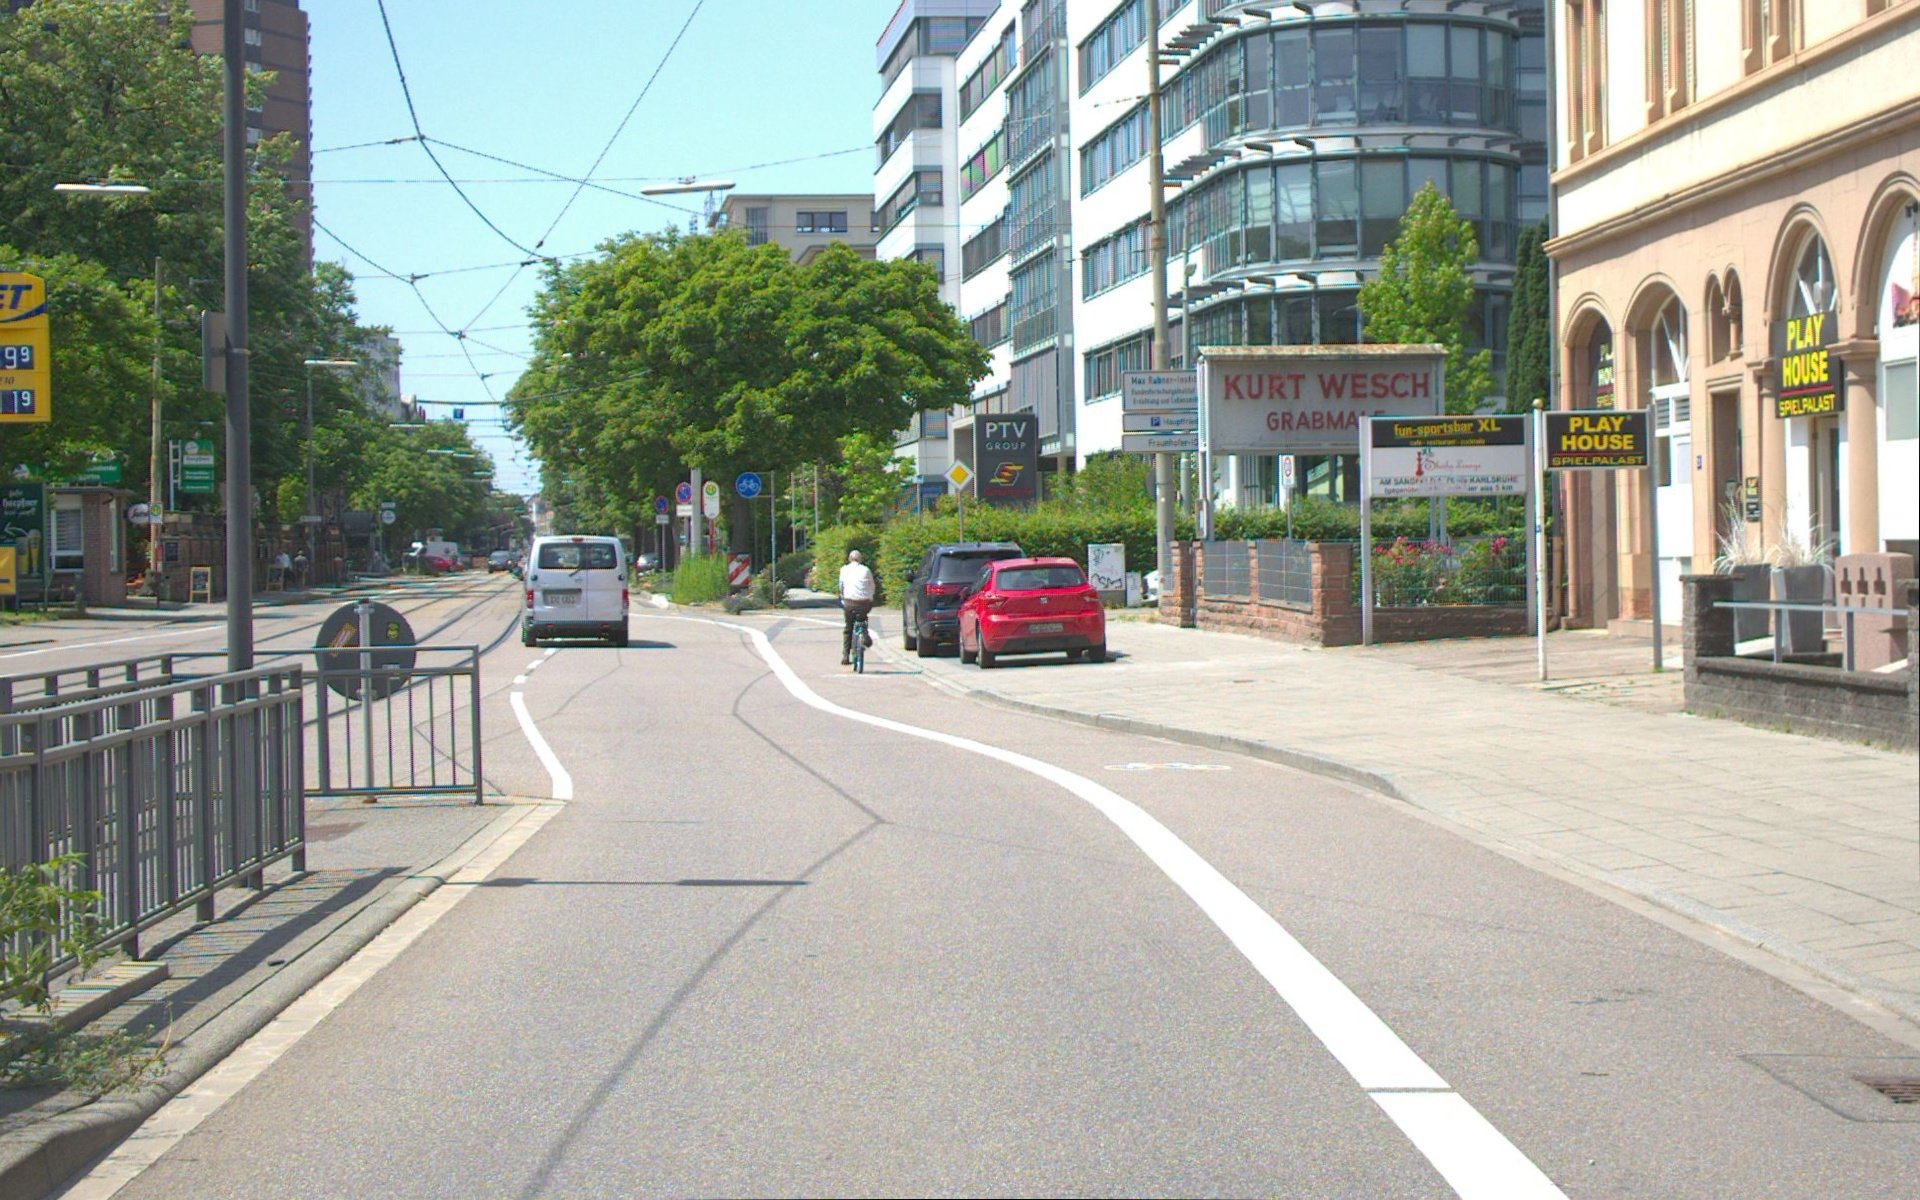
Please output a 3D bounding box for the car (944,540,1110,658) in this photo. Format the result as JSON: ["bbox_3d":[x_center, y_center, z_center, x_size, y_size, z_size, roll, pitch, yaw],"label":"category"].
[{"bbox_3d":[0.880,-0.052,47.414,1.711,1.447,4.073,-3,2,-6],"label":"car"}]

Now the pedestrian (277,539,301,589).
[{"bbox_3d":[-27.713,-1.475,141.949,0.863,2.007,0.646,-3,0,-9],"label":"pedestrian"}]

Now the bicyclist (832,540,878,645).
[{"bbox_3d":[-1.411,-0.109,46.141,0.591,1.392,0.842,-1,1,-2],"label":"bicyclist"}]

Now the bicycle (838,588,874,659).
[{"bbox_3d":[-1.400,0.304,46.176,0.465,0.884,2.048,-1,1,-2],"label":"bicycle"}]

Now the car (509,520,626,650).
[{"bbox_3d":[-6.643,-0.296,57.913,1.752,2.006,4.001,-2,2,-8],"label":"car"}]

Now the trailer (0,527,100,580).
[{"bbox_3d":[-26.181,-1.331,98.638,2.727,1.521,1.330,0,0,-5],"label":"trailer"}]

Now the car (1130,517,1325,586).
[{"bbox_3d":[5.558,-1.011,71.559,3.798,1.270,1.556,-2,2,-5],"label":"car"}]

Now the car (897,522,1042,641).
[{"bbox_3d":[0.097,-0.331,53.443,1.863,1.681,5.001,-2,2,-4],"label":"car"}]
